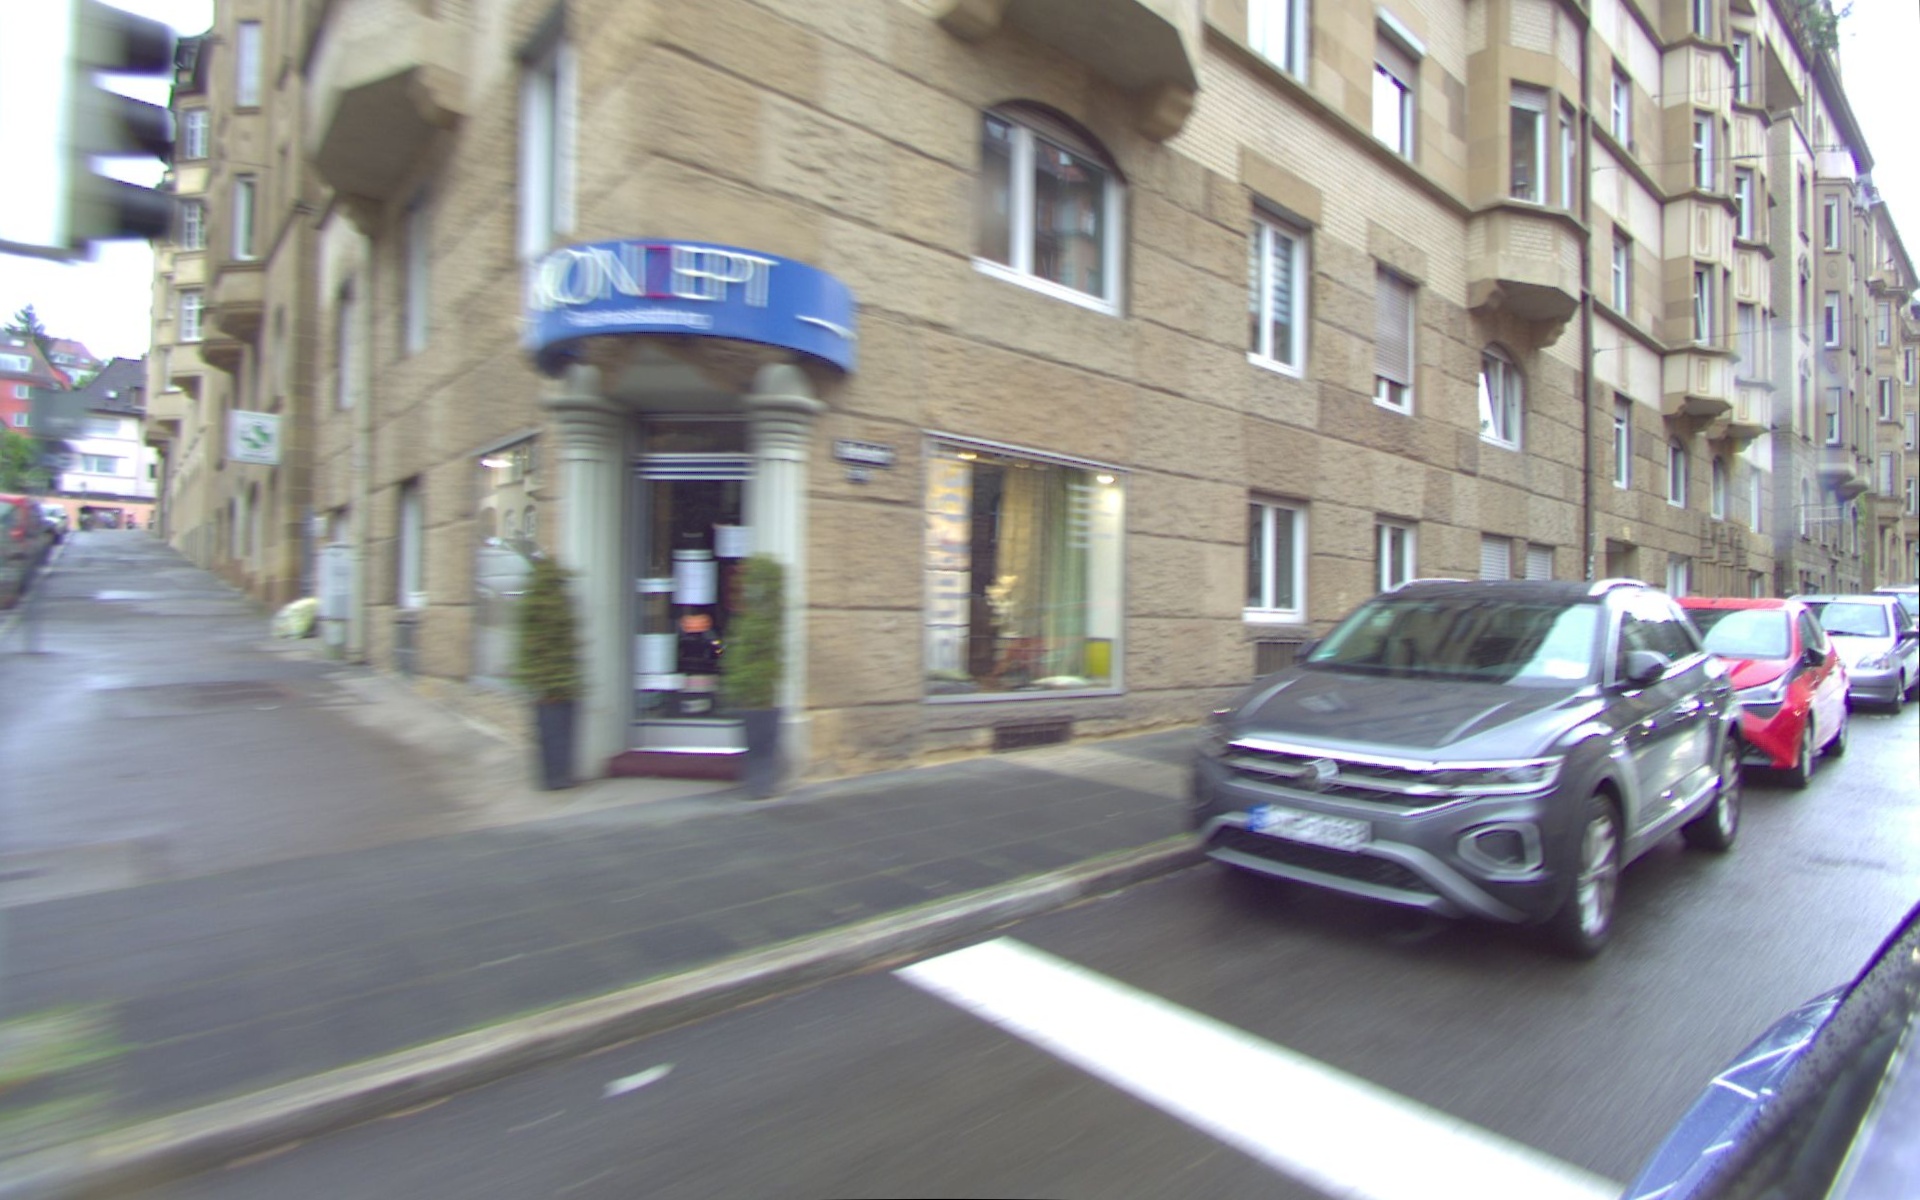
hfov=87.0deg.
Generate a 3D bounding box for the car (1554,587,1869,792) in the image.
[{"bbox_3d":[6.874,0.634,9.140,3.474,1.471,1.707,-1,0,-44],"label":"car"}]

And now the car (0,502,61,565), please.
[{"bbox_3d":[-29.270,-2.137,31.295,1.966,1.670,4.354,7,-1,-41],"label":"car"}]

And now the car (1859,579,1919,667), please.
[{"bbox_3d":[19.206,0.403,19.993,3.932,1.621,1.772,-1,2,-43],"label":"car"}]

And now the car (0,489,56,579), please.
[{"bbox_3d":[-24.976,-1.845,25.944,2.361,2.068,5.089,7,-1,-41],"label":"car"}]

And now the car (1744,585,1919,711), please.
[{"bbox_3d":[12.239,0.553,13.967,3.460,1.505,1.598,-1,1,-41],"label":"car"}]

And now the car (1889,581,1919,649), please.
[{"bbox_3d":[23.346,0.319,23.986,3.471,1.530,1.630,-1,0,-42],"label":"car"}]

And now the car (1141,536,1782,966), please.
[{"bbox_3d":[3.005,0.532,5.698,3.921,1.568,1.870,-1,0,-41],"label":"car"}]

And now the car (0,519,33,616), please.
[{"bbox_3d":[-17.403,-0.707,17.342,1.826,1.481,4.685,8,-1,-40],"label":"car"}]

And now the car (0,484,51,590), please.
[{"bbox_3d":[-21.238,-1.524,21.870,2.035,2.068,5.089,7,-1,-41],"label":"car"}]

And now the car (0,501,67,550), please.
[{"bbox_3d":[-38.542,-3.122,42.011,1.966,1.670,4.354,7,-1,-41],"label":"car"}]
